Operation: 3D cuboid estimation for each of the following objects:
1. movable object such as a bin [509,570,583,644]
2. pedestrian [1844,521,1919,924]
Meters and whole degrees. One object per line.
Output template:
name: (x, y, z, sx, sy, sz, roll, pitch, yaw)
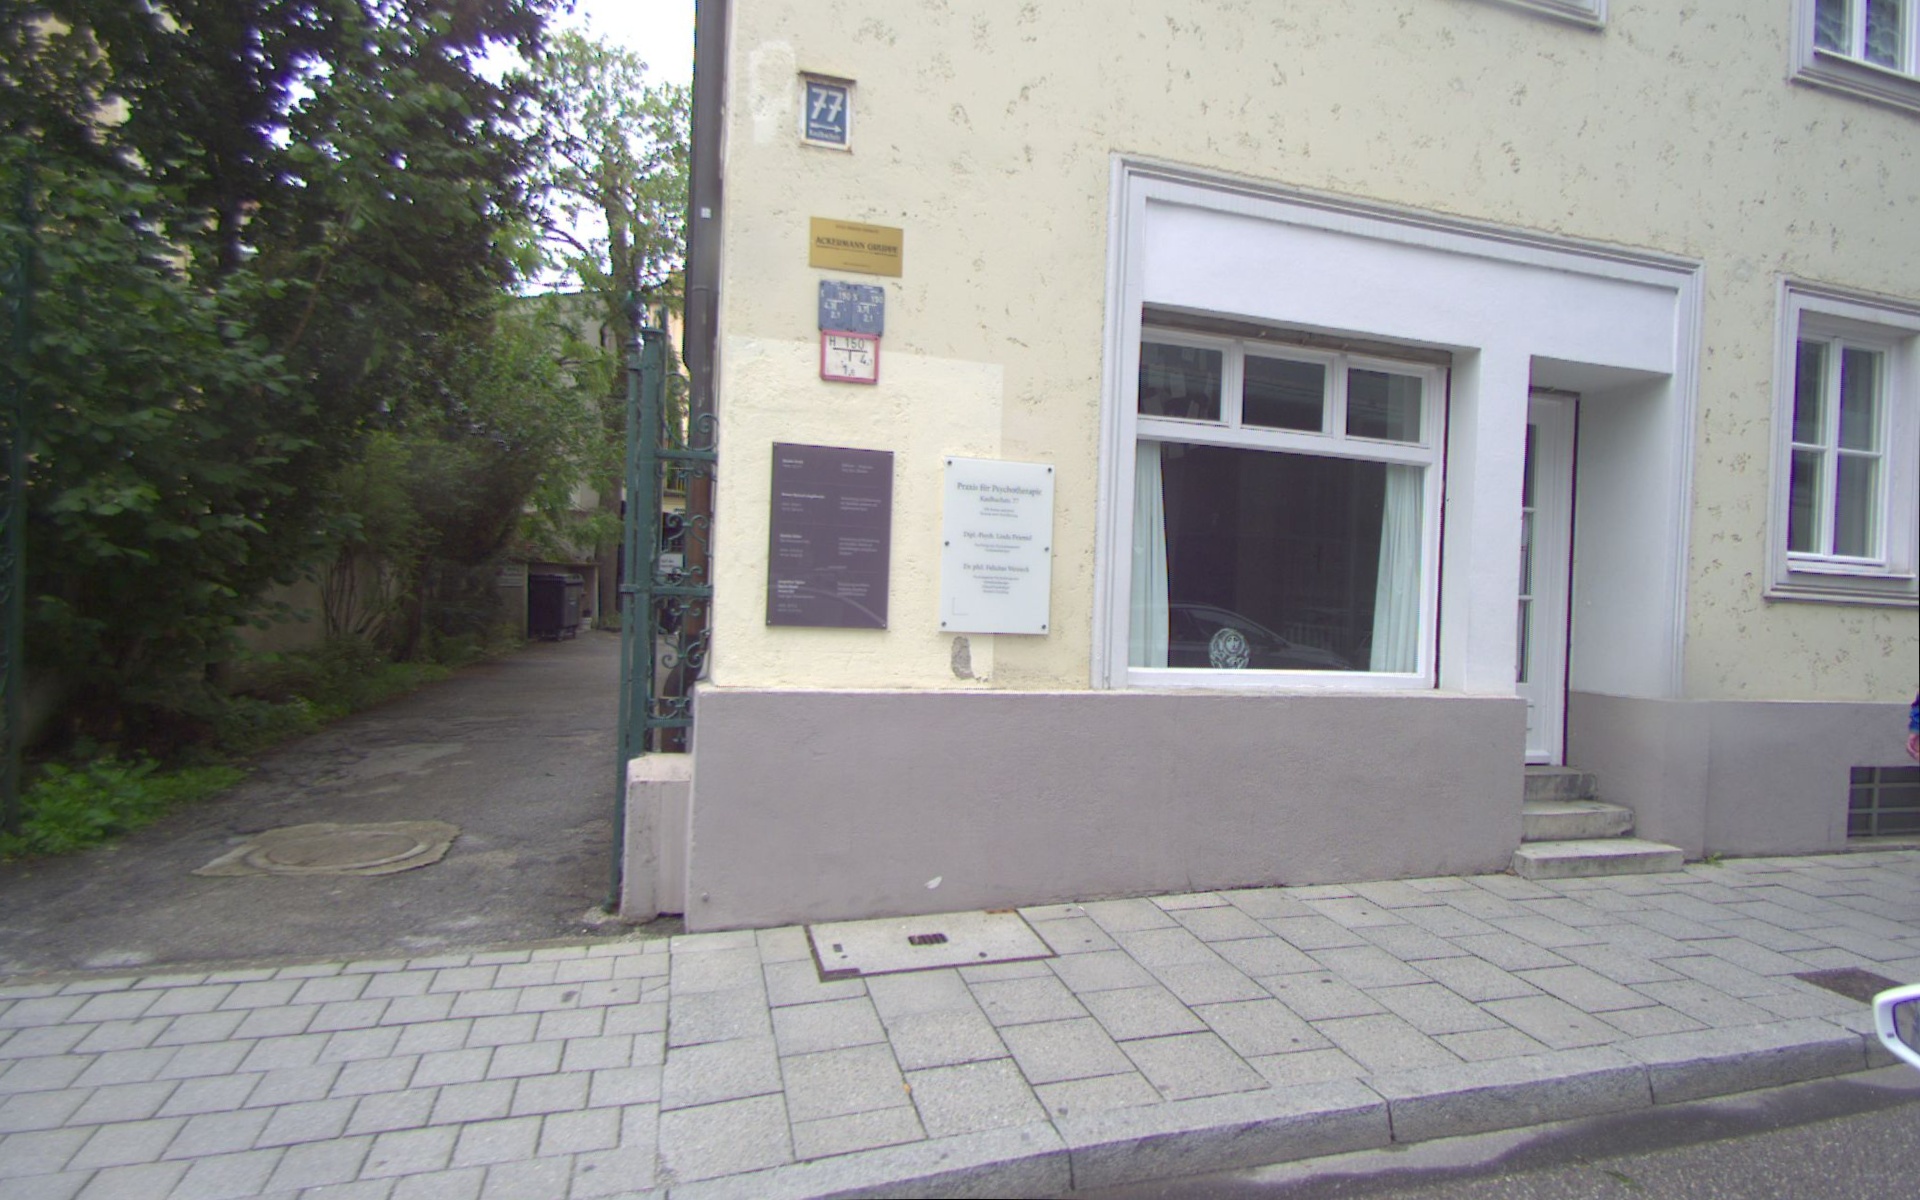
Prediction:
movable object such as a bin: (-8.354, 0.139, 20.329, 1.087, 1.422, 1.226, 2, 0, -9)
pedestrian: (5.038, 0.593, 4.744, 1.059, 1.879, 0.756, 2, 2, -16)
